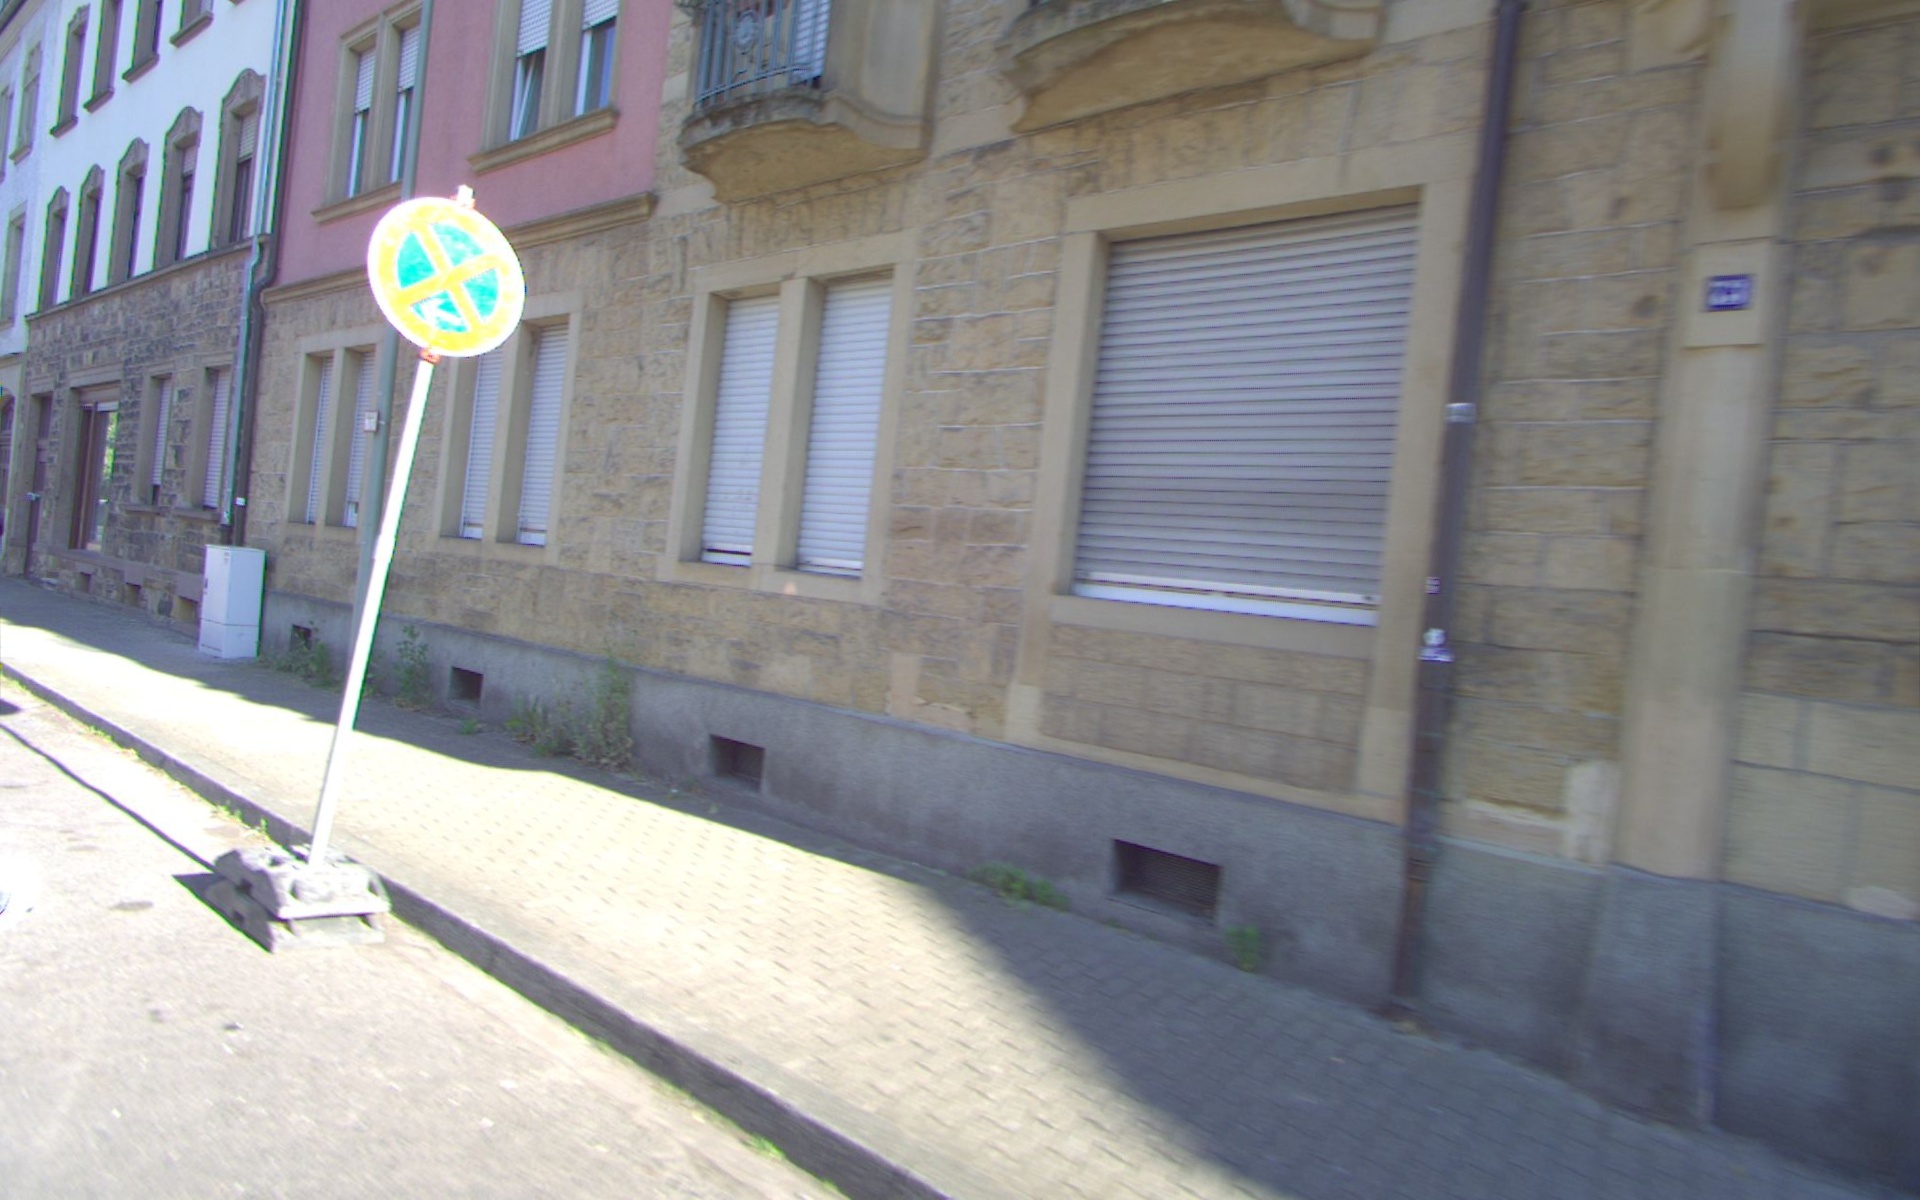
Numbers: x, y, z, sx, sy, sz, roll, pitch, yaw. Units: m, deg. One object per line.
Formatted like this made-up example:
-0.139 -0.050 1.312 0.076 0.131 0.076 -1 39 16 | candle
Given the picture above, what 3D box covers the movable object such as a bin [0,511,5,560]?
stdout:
-19.764 -1.148 20.040 0.674 1.395 0.871 7 0 36 | movable object such as a bin
